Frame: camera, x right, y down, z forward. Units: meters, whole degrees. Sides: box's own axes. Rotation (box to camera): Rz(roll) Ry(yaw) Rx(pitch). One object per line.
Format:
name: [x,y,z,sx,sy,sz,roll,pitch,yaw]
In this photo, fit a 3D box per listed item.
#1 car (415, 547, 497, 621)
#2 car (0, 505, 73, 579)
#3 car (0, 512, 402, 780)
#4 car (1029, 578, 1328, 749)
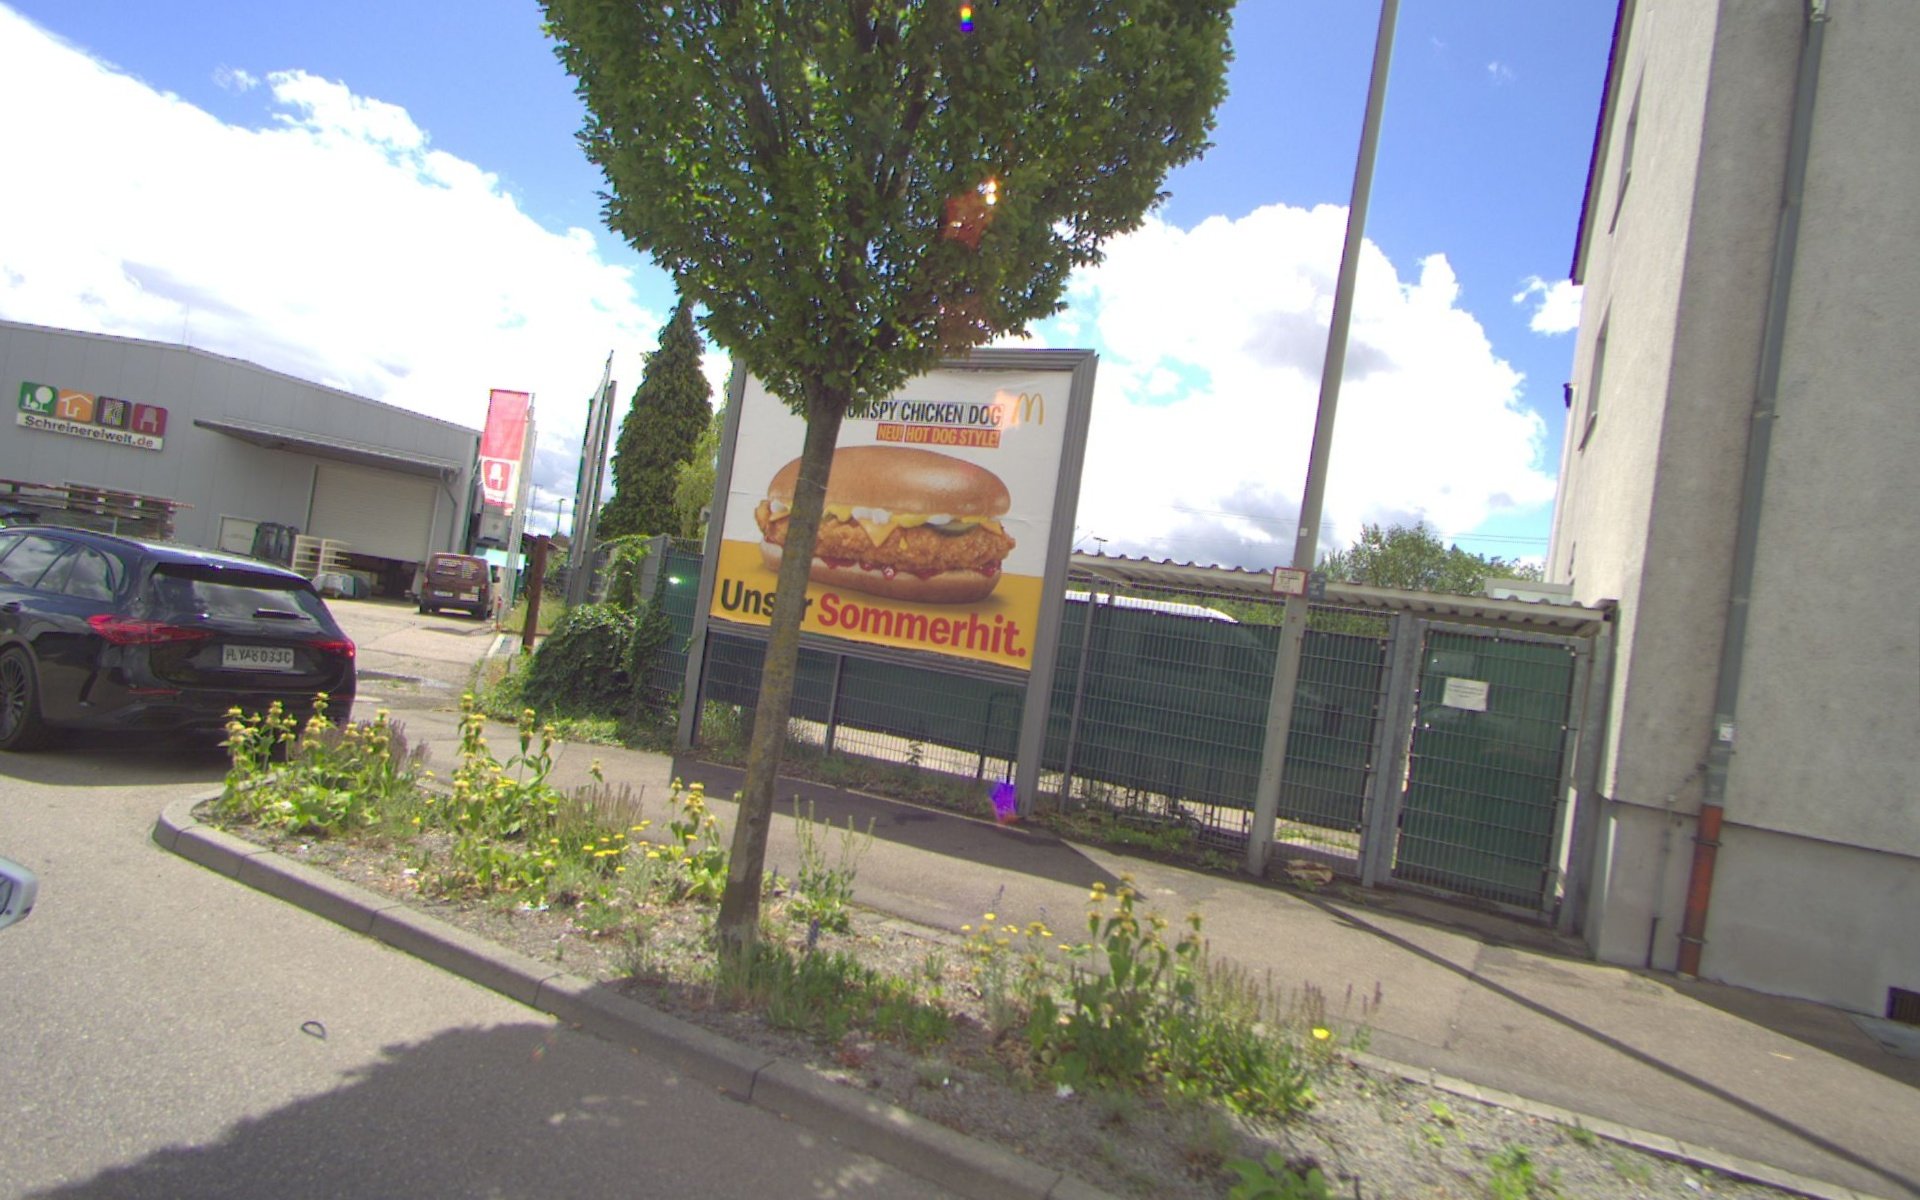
car: [-15.324,-0.489,30.771,1.794,1.893,4.021,7,-1,-23]
car: [-21.761,-1.414,21.347,4.007,1.481,1.721,6,1,-11]
car: [-6.660,0.175,7.660,4.625,1.482,1.797,6,-2,27]
car: [4.437,1.246,20.557,5.361,2.799,2.283,5,-3,27]
